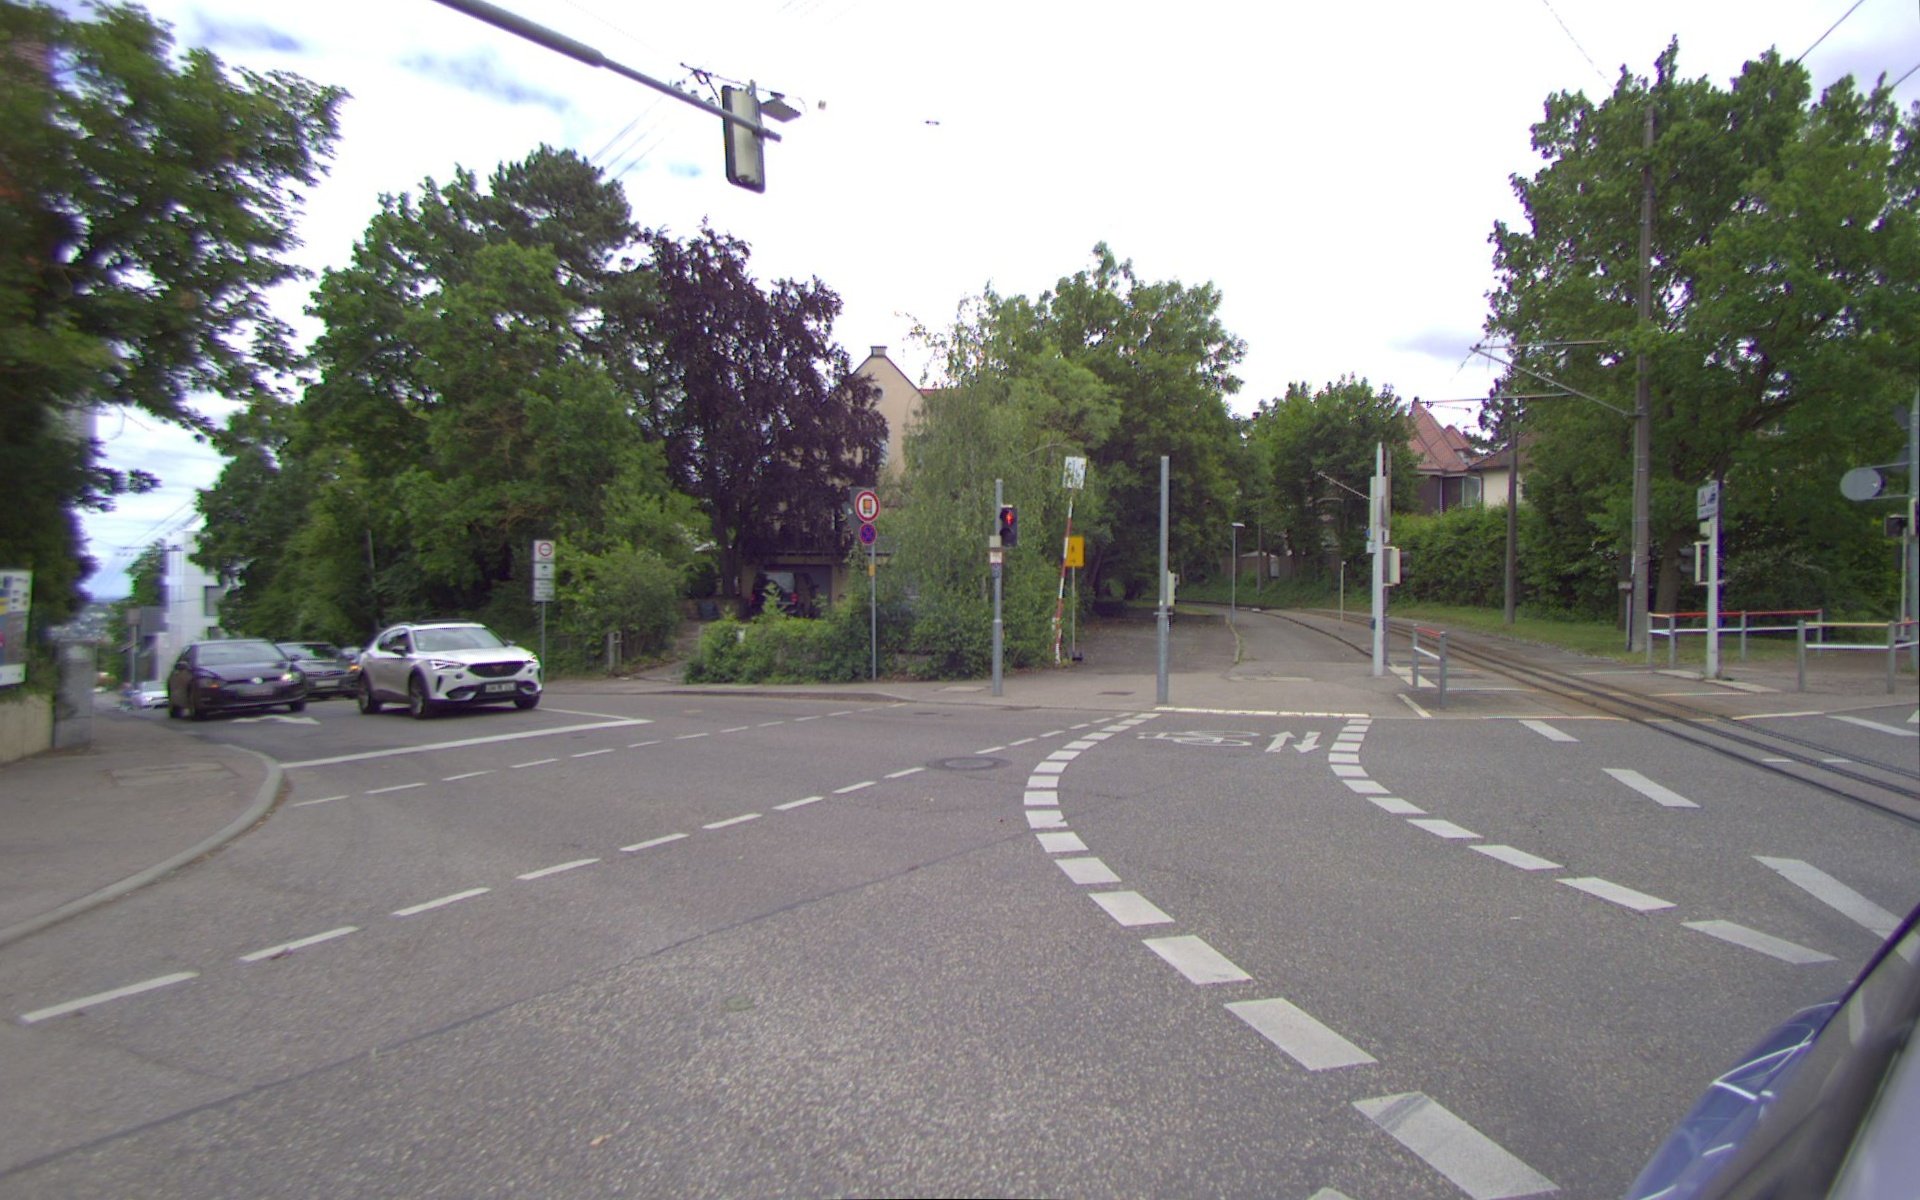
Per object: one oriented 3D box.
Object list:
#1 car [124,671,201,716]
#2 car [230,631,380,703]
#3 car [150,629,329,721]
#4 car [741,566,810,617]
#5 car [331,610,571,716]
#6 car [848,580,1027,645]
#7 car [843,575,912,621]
[{"bbox_3d":[-32.562,3.751,41.267,3.986,1.572,1.968,-3,-2,44],"label":"car"},{"bbox_3d":[-15.630,1.573,24.061,4.501,1.482,1.969,-4,-2,43],"label":"car"},{"bbox_3d":[-13.958,1.396,19.499,4.501,1.482,1.969,-4,-2,43],"label":"car"},{"bbox_3d":[-6.937,-0.330,38.405,1.961,1.816,4.001,0,1,-1],"label":"car"},{"bbox_3d":[-8.559,0.937,16.847,4.498,1.482,1.971,-1,0,40],"label":"car"},{"bbox_3d":[-0.650,0.289,25.549,1.968,1.482,4.506,-1,0,-45],"label":"car"},{"bbox_3d":[-3.064,-0.092,38.231,1.965,1.616,3.995,0,1,5],"label":"car"}]
